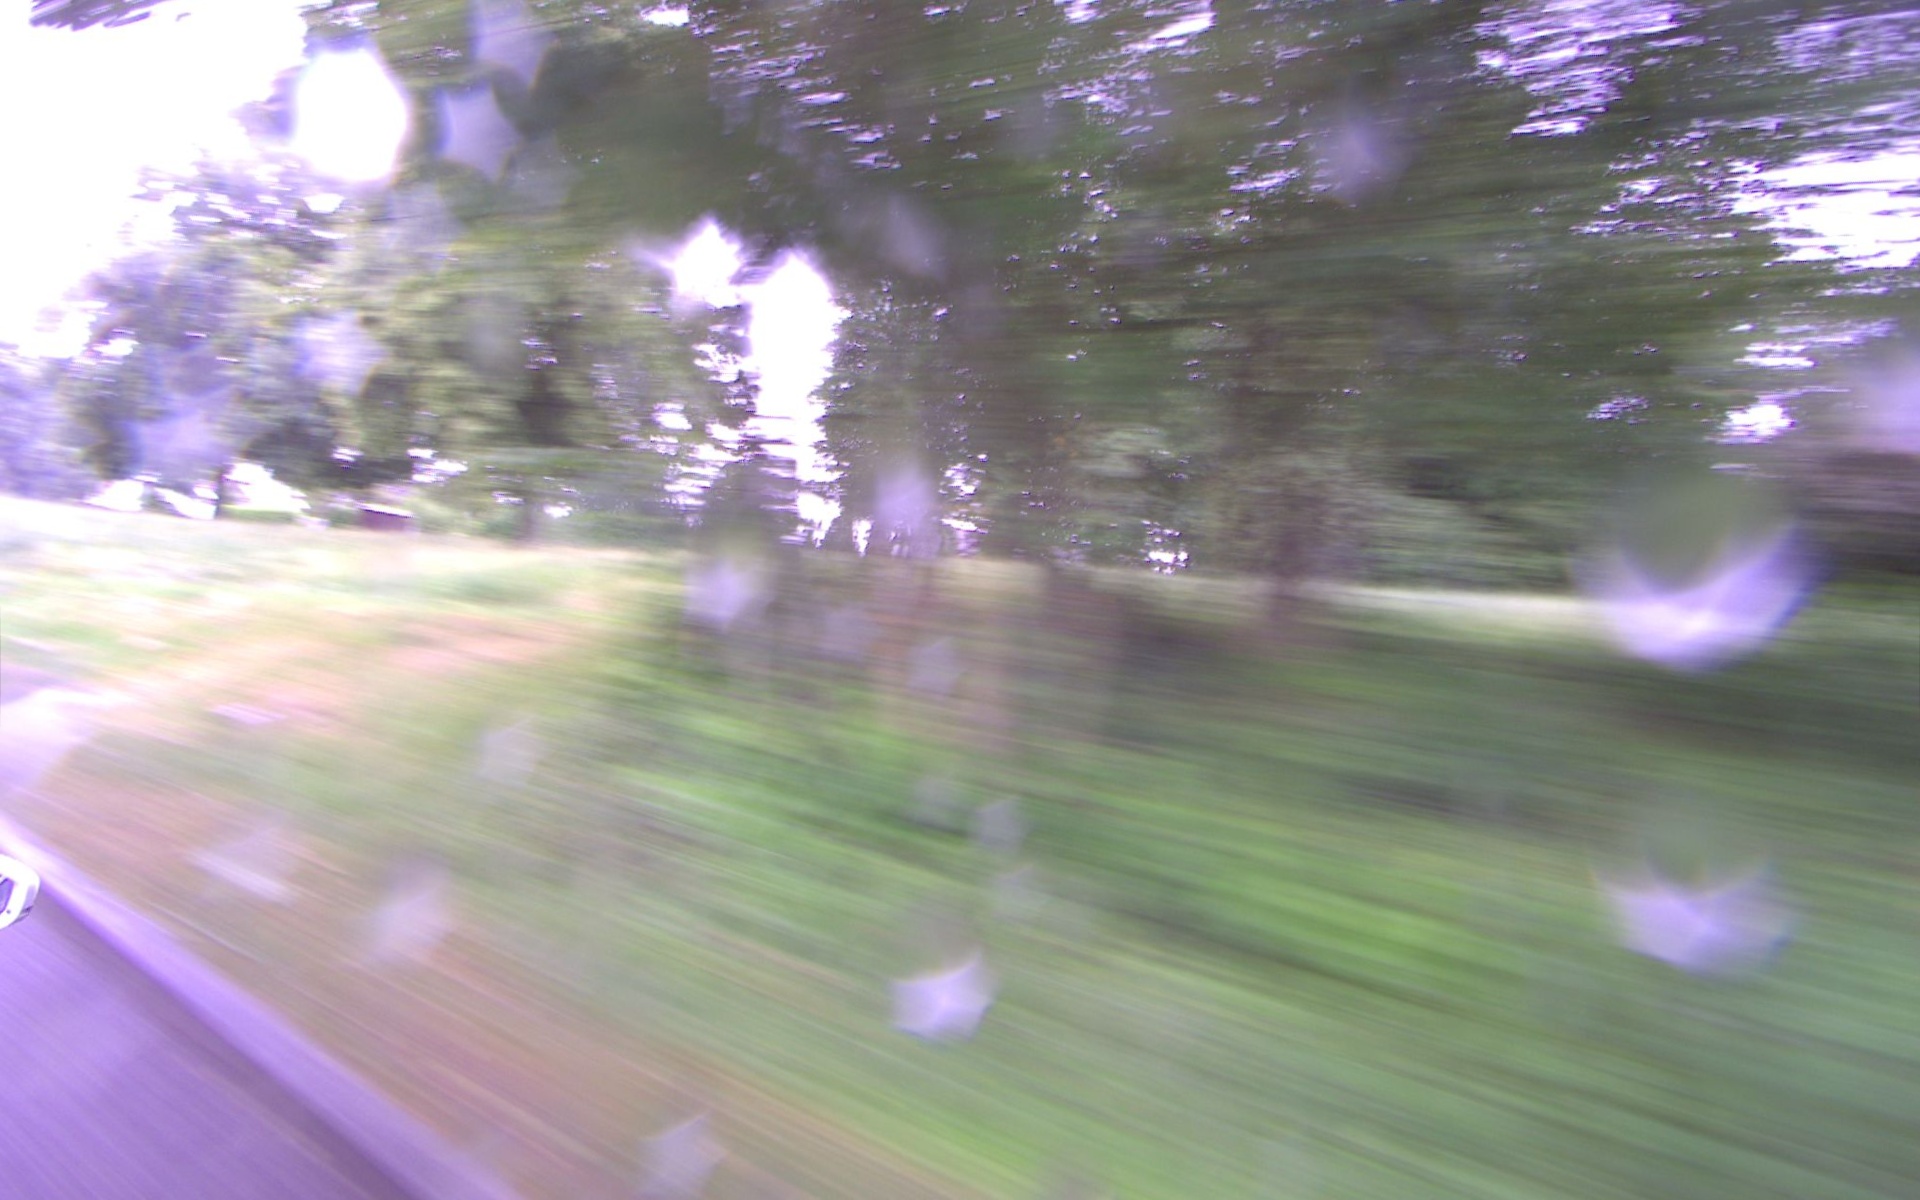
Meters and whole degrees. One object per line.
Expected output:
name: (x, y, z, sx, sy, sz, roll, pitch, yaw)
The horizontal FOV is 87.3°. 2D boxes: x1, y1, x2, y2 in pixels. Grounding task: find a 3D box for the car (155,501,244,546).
car: (-37.970, -3.802, 50.215, 3.929, 1.673, 1.830, 8, 0, 26)
